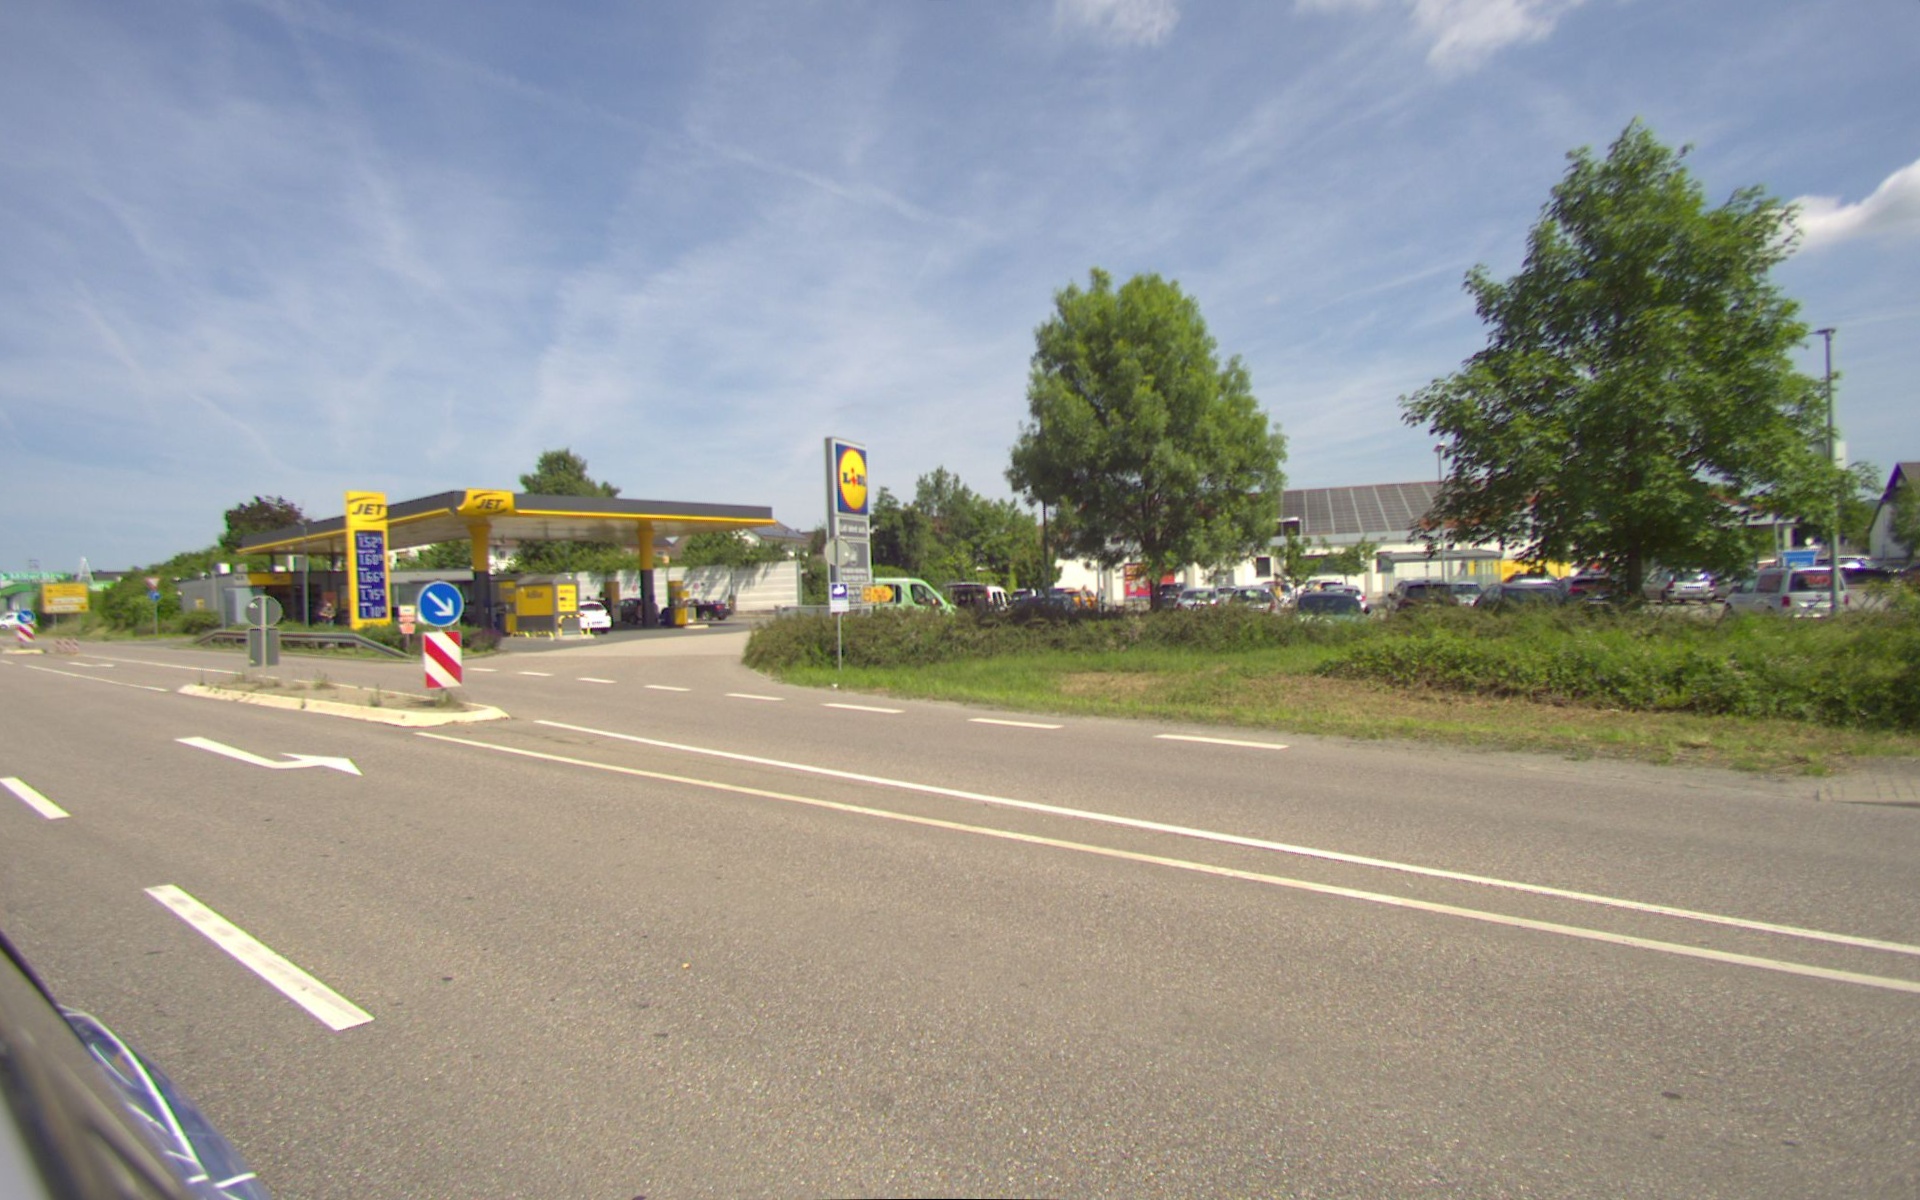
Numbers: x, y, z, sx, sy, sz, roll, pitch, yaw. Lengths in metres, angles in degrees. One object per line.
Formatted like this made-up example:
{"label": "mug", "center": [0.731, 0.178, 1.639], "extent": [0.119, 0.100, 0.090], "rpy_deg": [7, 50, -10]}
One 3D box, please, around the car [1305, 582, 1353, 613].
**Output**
{"label": "car", "center": [18.285, -0.147, 50.295], "extent": [1.868, 1.453, 3.981], "rpy_deg": [-1, 1, 15]}

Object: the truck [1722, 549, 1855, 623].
{"label": "truck", "center": [28.198, -0.447, 34.613], "extent": [1.981, 2.383, 3.982], "rpy_deg": [-1, 0, 14]}

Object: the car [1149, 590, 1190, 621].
{"label": "car", "center": [10.797, 0.251, 52.019], "extent": [1.868, 1.453, 3.981], "rpy_deg": [-1, 1, 15]}

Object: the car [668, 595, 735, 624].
{"label": "car", "center": [-15.670, 0.580, 61.230], "extent": [3.863, 1.625, 1.734], "rpy_deg": [-2, -1, 32]}

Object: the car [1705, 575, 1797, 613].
{"label": "car", "center": [34.243, -0.262, 43.940], "extent": [1.865, 1.553, 4.231], "rpy_deg": [0, 0, 20]}

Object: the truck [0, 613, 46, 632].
{"label": "truck", "center": [-112.336, 2.669, 120.608], "extent": [1.997, 2.024, 4.715], "rpy_deg": [-1, 0, 37]}

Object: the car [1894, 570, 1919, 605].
{"label": "car", "center": [45.452, -0.576, 45.809], "extent": [4.223, 1.553, 1.869], "rpy_deg": [0, 0, 18]}

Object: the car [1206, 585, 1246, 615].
{"label": "car", "center": [13.642, -0.005, 51.960], "extent": [1.868, 1.453, 3.981], "rpy_deg": [-1, 1, 15]}

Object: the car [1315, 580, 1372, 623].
{"label": "car", "center": [14.600, 0.038, 38.665], "extent": [1.764, 1.540, 3.977], "rpy_deg": [0, 0, 17]}

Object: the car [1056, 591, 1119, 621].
{"label": "car", "center": [6.844, 0.303, 54.043], "extent": [1.879, 1.453, 3.958], "rpy_deg": [-1, 1, 31]}

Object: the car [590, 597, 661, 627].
{"label": "car", "center": [-18.992, 0.700, 57.504], "extent": [3.862, 1.625, 1.735], "rpy_deg": [-2, -1, 31]}

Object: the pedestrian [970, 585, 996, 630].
{"label": "pedestrian", "center": [0.823, 0.271, 36.137], "extent": [0.801, 1.587, 0.701], "rpy_deg": [-1, 0, 13]}

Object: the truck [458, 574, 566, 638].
{"label": "truck", "center": [-21.779, 0.279, 49.053], "extent": [6.278, 2.944, 2.222], "rpy_deg": [0, 0, 40]}

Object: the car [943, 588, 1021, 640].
{"label": "car", "center": [0.918, 0.496, 38.454], "extent": [1.865, 1.825, 4.145], "rpy_deg": [-1, 0, 17]}

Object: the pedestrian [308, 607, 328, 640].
{"label": "pedestrian", "center": [-36.473, 1.346, 57.517], "extent": [0.639, 1.852, 0.788], "rpy_deg": [-2, 0, 41]}

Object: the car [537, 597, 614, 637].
{"label": "car", "center": [-17.437, 0.794, 45.813], "extent": [4.001, 1.741, 1.713], "rpy_deg": [-2, -3, 44]}

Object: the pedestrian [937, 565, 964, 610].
{"label": "pedestrian", "center": [-0.332, -0.441, 36.297], "extent": [0.801, 1.587, 0.701], "rpy_deg": [-1, 0, 14]}

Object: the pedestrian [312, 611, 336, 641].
{"label": "pedestrian", "center": [-30.660, 1.245, 48.784], "extent": [0.901, 1.438, 0.495], "rpy_deg": [0, 0, -40]}

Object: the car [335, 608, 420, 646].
{"label": "car", "center": [-27.396, 1.267, 47.568], "extent": [4.258, 1.719, 1.975], "rpy_deg": [-2, -1, 38]}

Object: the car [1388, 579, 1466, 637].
{"label": "car", "center": [14.990, 0.218, 32.666], "extent": [1.898, 1.687, 3.974], "rpy_deg": [-1, 1, 20]}

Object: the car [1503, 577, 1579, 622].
{"label": "car", "center": [20.911, -0.014, 36.584], "extent": [1.767, 1.540, 3.972], "rpy_deg": [0, 0, 21]}

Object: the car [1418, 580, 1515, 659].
{"label": "car", "center": [11.744, 0.405, 23.673], "extent": [1.683, 1.670, 3.971], "rpy_deg": [0, 0, 22]}

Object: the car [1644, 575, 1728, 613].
{"label": "car", "center": [31.828, -0.259, 44.485], "extent": [1.865, 1.553, 4.231], "rpy_deg": [0, 0, 20]}

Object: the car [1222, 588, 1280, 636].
{"label": "car", "center": [10.208, 0.376, 35.328], "extent": [1.769, 1.513, 4.122], "rpy_deg": [-1, 1, 18]}

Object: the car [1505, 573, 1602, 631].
{"label": "car", "center": [18.535, 0.064, 31.784], "extent": [1.912, 1.701, 3.973], "rpy_deg": [0, 0, 20]}

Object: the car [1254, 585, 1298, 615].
{"label": "car", "center": [15.880, -0.032, 50.991], "extent": [1.868, 1.453, 3.981], "rpy_deg": [-1, 1, 15]}

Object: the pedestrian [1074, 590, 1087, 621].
{"label": "pedestrian", "center": [6.060, 0.287, 50.938], "extent": [0.503, 1.564, 0.513], "rpy_deg": [-1, 0, 25]}

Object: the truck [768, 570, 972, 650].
{"label": "truck", "center": [-2.954, 0.288, 32.885], "extent": [6.242, 2.393, 2.256], "rpy_deg": [-1, -1, -16]}

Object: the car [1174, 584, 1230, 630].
{"label": "car", "center": [9.664, 0.250, 40.211], "extent": [1.850, 1.688, 4.399], "rpy_deg": [-1, 0, 18]}

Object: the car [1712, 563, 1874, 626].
{"label": "car", "center": [24.543, -0.150, 30.053], "extent": [1.981, 1.708, 4.408], "rpy_deg": [-1, 0, 14]}

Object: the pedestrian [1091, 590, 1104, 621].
{"label": "pedestrian", "center": [6.946, 0.270, 51.212], "extent": [0.504, 1.564, 0.512], "rpy_deg": [-1, 0, 30]}

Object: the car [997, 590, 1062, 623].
{"label": "car", "center": [3.753, 0.327, 54.235], "extent": [1.765, 1.551, 3.956], "rpy_deg": [-2, 0, 33]}
